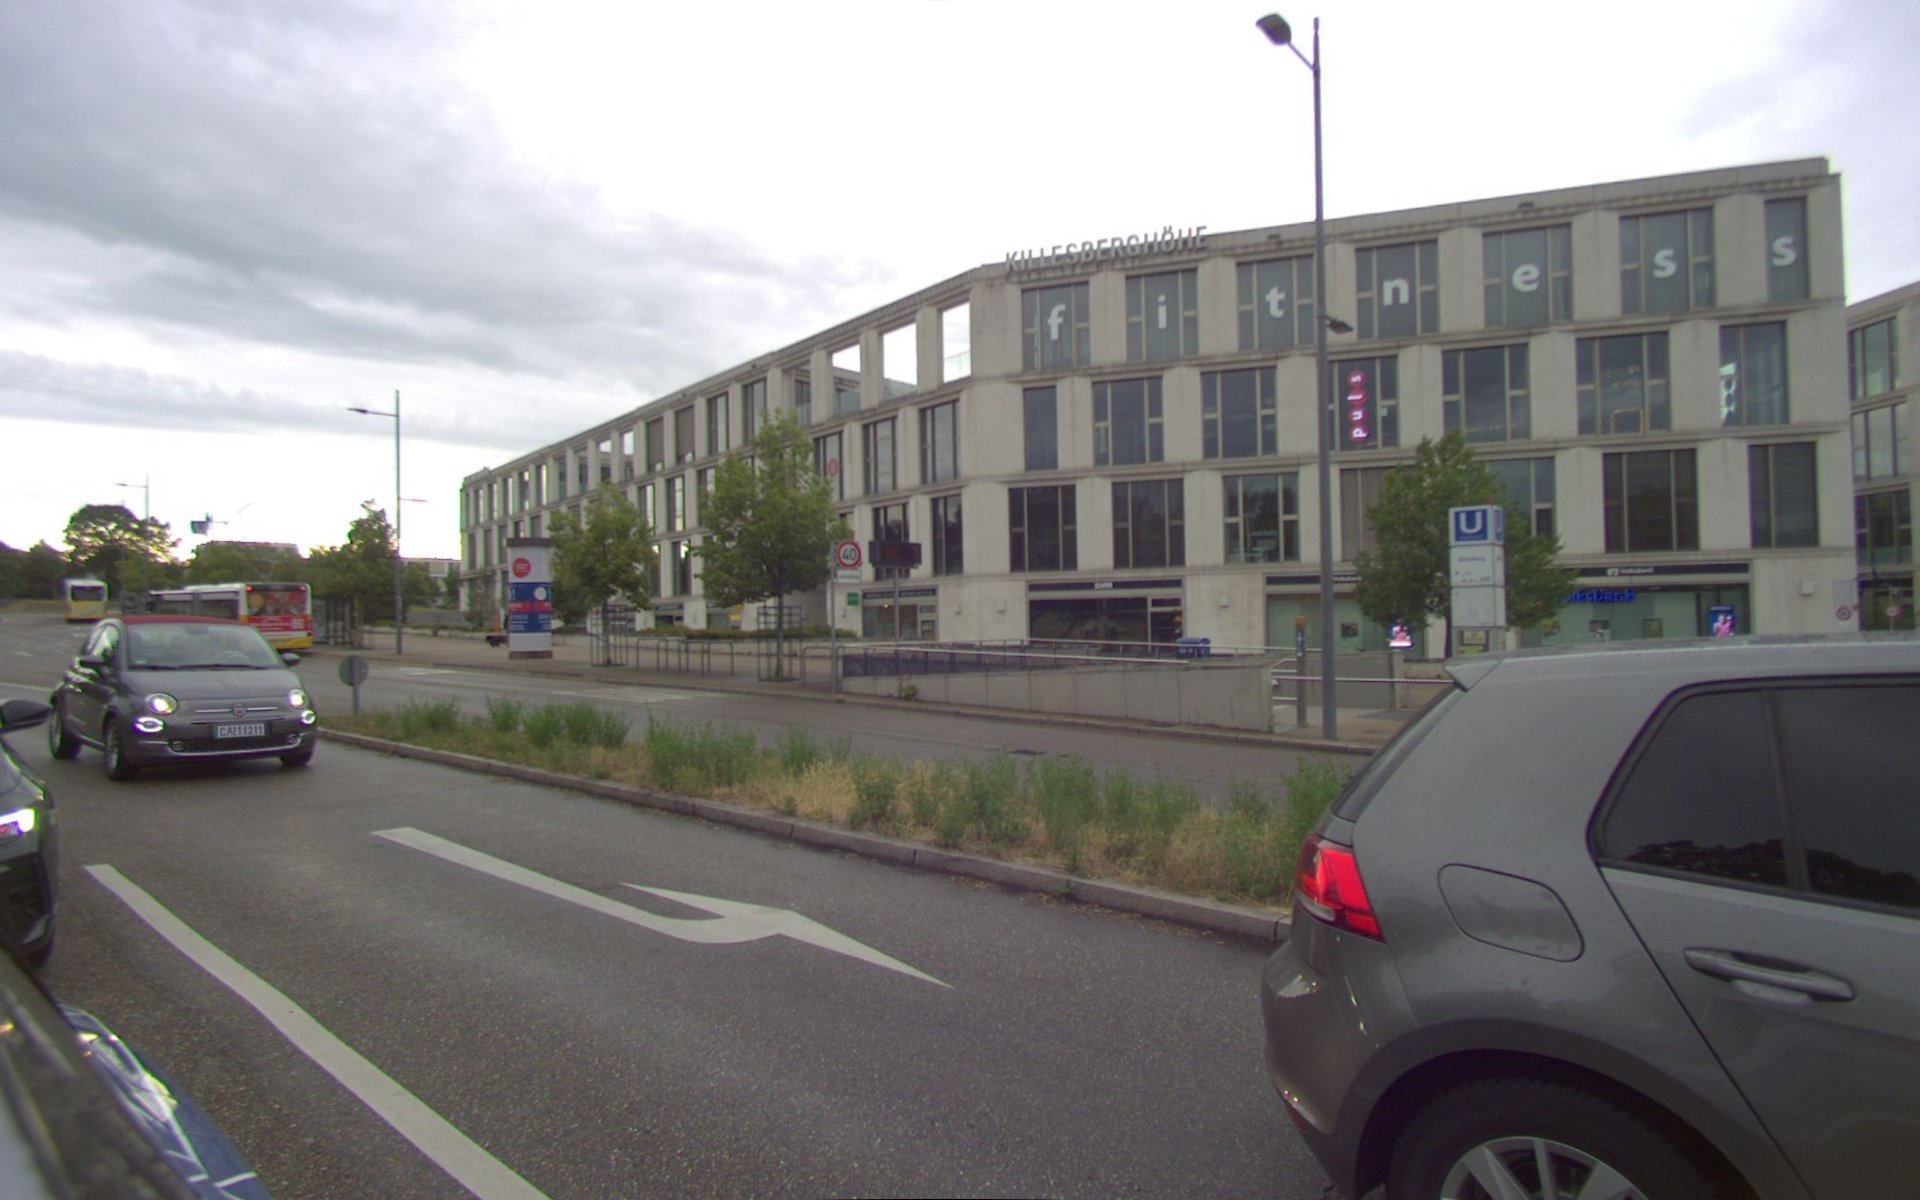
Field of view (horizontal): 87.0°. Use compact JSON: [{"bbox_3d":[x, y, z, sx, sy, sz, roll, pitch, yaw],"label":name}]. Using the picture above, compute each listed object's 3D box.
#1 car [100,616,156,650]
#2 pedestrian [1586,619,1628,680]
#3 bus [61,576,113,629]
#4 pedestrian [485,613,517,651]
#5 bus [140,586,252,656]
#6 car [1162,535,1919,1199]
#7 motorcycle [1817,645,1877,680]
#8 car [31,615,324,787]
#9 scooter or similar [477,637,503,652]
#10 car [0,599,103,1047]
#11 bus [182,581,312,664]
[{"bbox_3d":[-47.229,1.834,57.446,3.998,1.800,1.843,-1,0,41],"label":"car"},{"bbox_3d":[17.623,1.328,27.587,0.912,1.617,0.756,-1,-2,32],"label":"pedestrian"},{"bbox_3d":[-76.392,0.264,88.812,2.717,4.185,19.383,-1,0,-39],"label":"bus"},{"bbox_3d":[-19.793,1.371,43.637,0.980,1.593,0.858,-1,0,30],"label":"pedestrian"},{"bbox_3d":[-38.155,0.988,50.386,9.911,3.205,2.658,-1,0,42],"label":"bus"},{"bbox_3d":[2.670,0.653,1.451,4.374,1.492,1.797,-1,-2,41],"label":"car"},{"bbox_3d":[20.440,1.438,23.346,0.517,0.746,1.098,-1,0,9],"label":"motorcycle"},{"bbox_3d":[-8.191,0.907,10.510,3.502,1.492,1.611,-1,-1,38],"label":"car"},{"bbox_3d":[-20.161,1.908,43.450,0.828,0.656,0.636,-1,-1,26],"label":"scooter or similar"},{"bbox_3d":[-5.406,0.767,4.407,4.766,1.476,1.877,-1,0,41],"label":"car"},{"bbox_3d":[-31.128,0.919,43.979,9.206,3.236,2.723,-1,0,43],"label":"bus"}]
